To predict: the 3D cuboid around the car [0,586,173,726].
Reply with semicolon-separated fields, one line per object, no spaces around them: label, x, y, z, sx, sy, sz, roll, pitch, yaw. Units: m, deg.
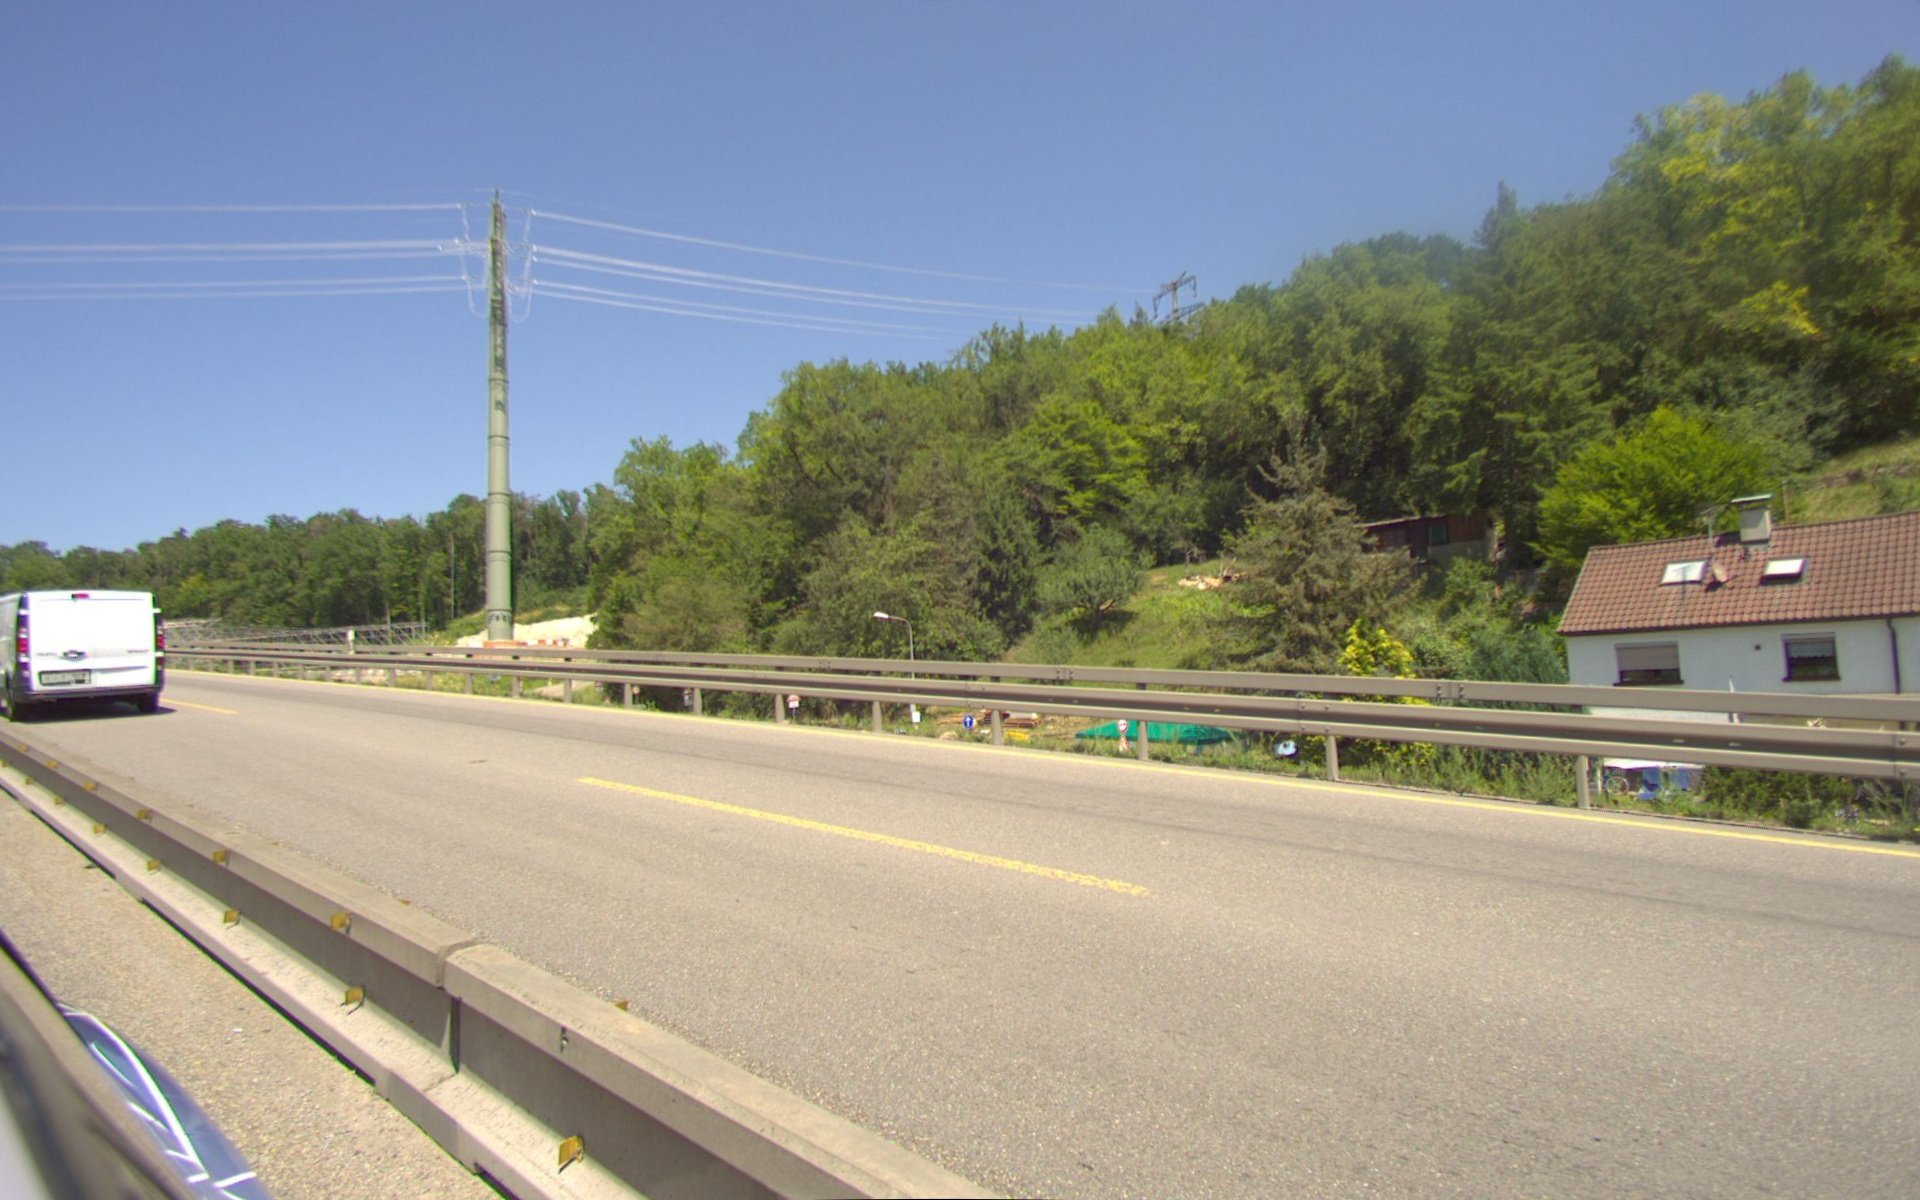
car;-15.065;0.858;16.987;4.854;2.026;1.973;-1;-2;40
